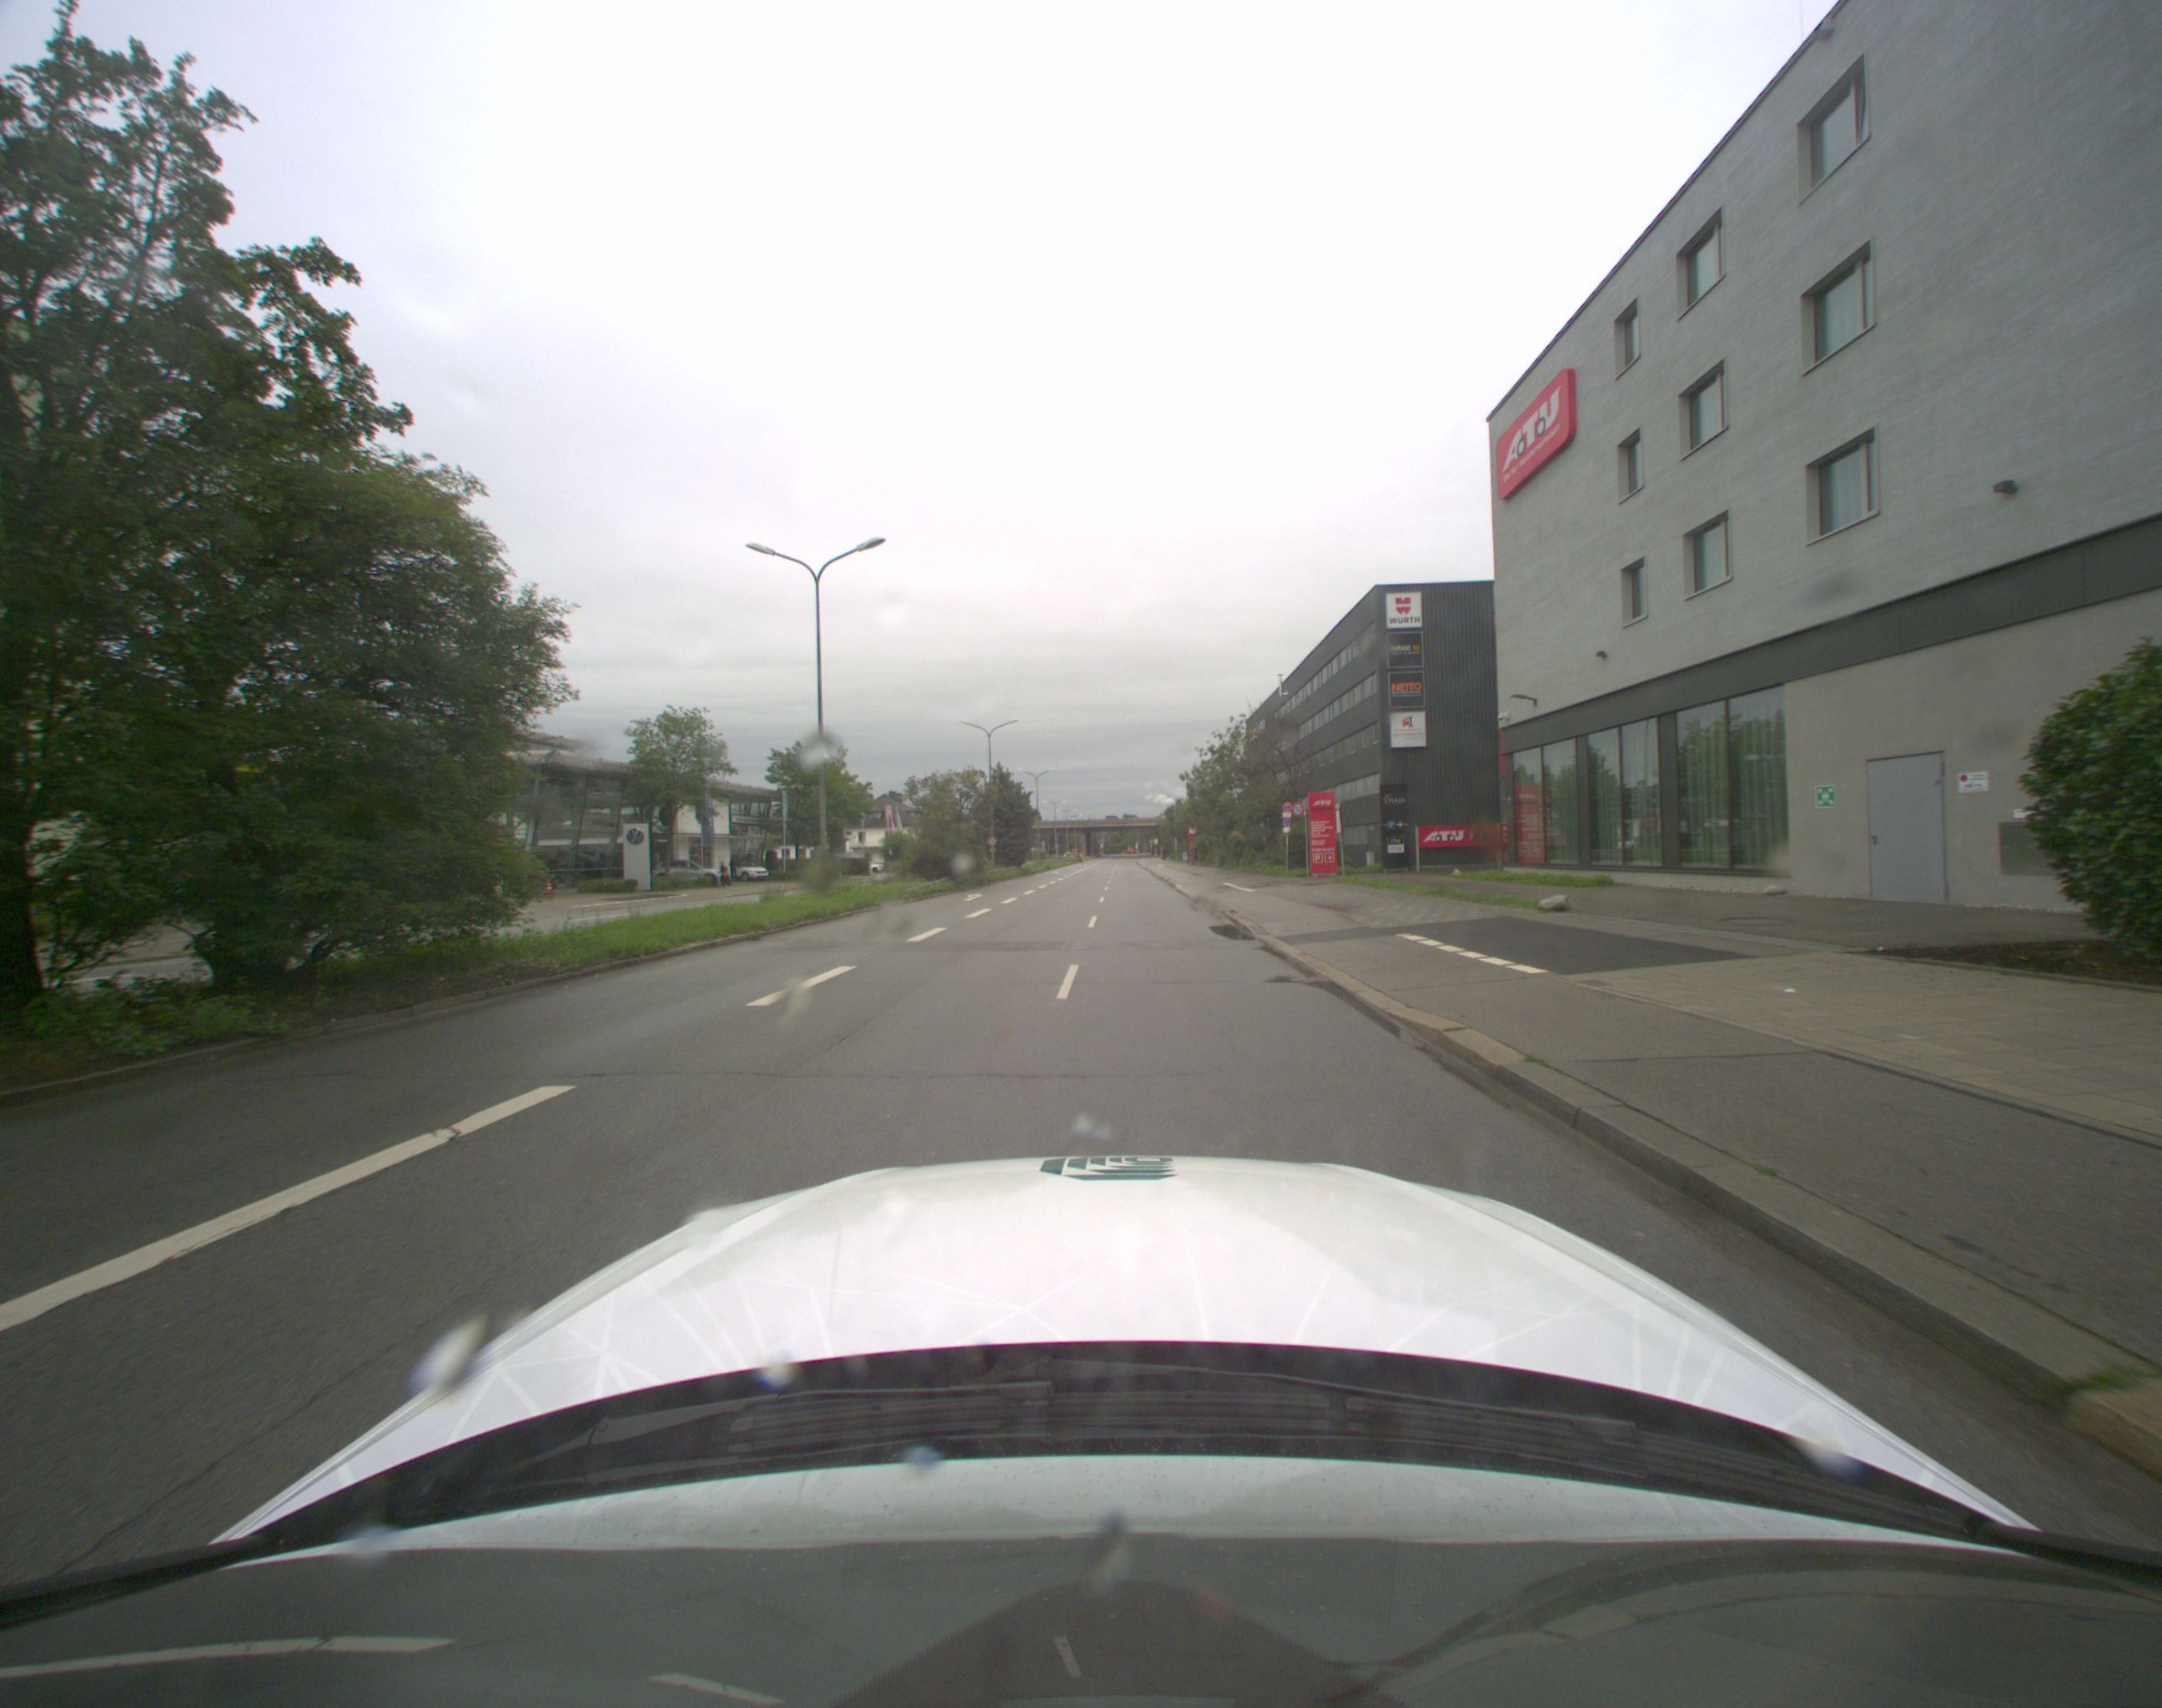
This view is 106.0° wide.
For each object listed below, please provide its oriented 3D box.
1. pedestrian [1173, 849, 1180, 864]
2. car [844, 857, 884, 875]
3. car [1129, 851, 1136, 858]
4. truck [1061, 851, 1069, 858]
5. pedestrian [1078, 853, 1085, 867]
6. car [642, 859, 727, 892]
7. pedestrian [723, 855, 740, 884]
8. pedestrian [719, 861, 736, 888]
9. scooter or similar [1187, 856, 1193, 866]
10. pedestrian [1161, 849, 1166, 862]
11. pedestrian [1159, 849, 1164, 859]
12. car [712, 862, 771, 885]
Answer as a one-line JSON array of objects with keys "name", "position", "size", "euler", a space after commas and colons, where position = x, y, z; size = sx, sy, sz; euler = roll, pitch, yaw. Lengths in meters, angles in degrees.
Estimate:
[{"name": "pedestrian", "position": [12.431, 0.323, 105.860], "size": [0.686, 1.876, 0.662], "euler": [-3, 0, 2]}, {"name": "car", "position": [-24.591, 1.357, 92.418], "size": [4.142, 1.708, 1.843], "euler": [-3, 0, -10]}, {"name": "car", "position": [15.182, 0.126, 240.230], "size": [1.804, 2.013, 3.838], "euler": [-1, 0, 4]}, {"name": "truck", "position": [-4.984, 0.118, 253.740], "size": [1.987, 2.013, 4.356], "euler": [-3, 0, 0]}, {"name": "pedestrian", "position": [0.035, 0.718, 97.555], "size": [0.656, 1.617, 0.692], "euler": [-3, 0, 7]}, {"name": "car", "position": [-25.343, 1.350, 52.258], "size": [4.648, 1.842, 1.789], "euler": [-3, 0, -21]}, {"name": "pedestrian", "position": [-25.298, 1.123, 58.930], "size": [0.711, 2.013, 0.880], "euler": [-3, 0, 2]}, {"name": "pedestrian", "position": [-21.555, 1.251, 49.664], "size": [0.634, 1.610, 0.622], "euler": [-3, 0, 2]}, {"name": "scooter or similar", "position": [11.063, 0.707, 82.647], "size": [0.303, 1.004, 1.220], "euler": [-3, 0, 0]}, {"name": "pedestrian", "position": [11.928, 0.224, 117.877], "size": [0.686, 1.876, 0.662], "euler": [-3, 0, 2]}, {"name": "pedestrian", "position": [13.930, 0.040, 140.957], "size": [0.686, 1.617, 0.662], "euler": [-3, 0, 2]}, {"name": "car", "position": [-25.441, 1.453, 61.067], "size": [3.951, 1.509, 1.811], "euler": [-3, 0, 23]}]
